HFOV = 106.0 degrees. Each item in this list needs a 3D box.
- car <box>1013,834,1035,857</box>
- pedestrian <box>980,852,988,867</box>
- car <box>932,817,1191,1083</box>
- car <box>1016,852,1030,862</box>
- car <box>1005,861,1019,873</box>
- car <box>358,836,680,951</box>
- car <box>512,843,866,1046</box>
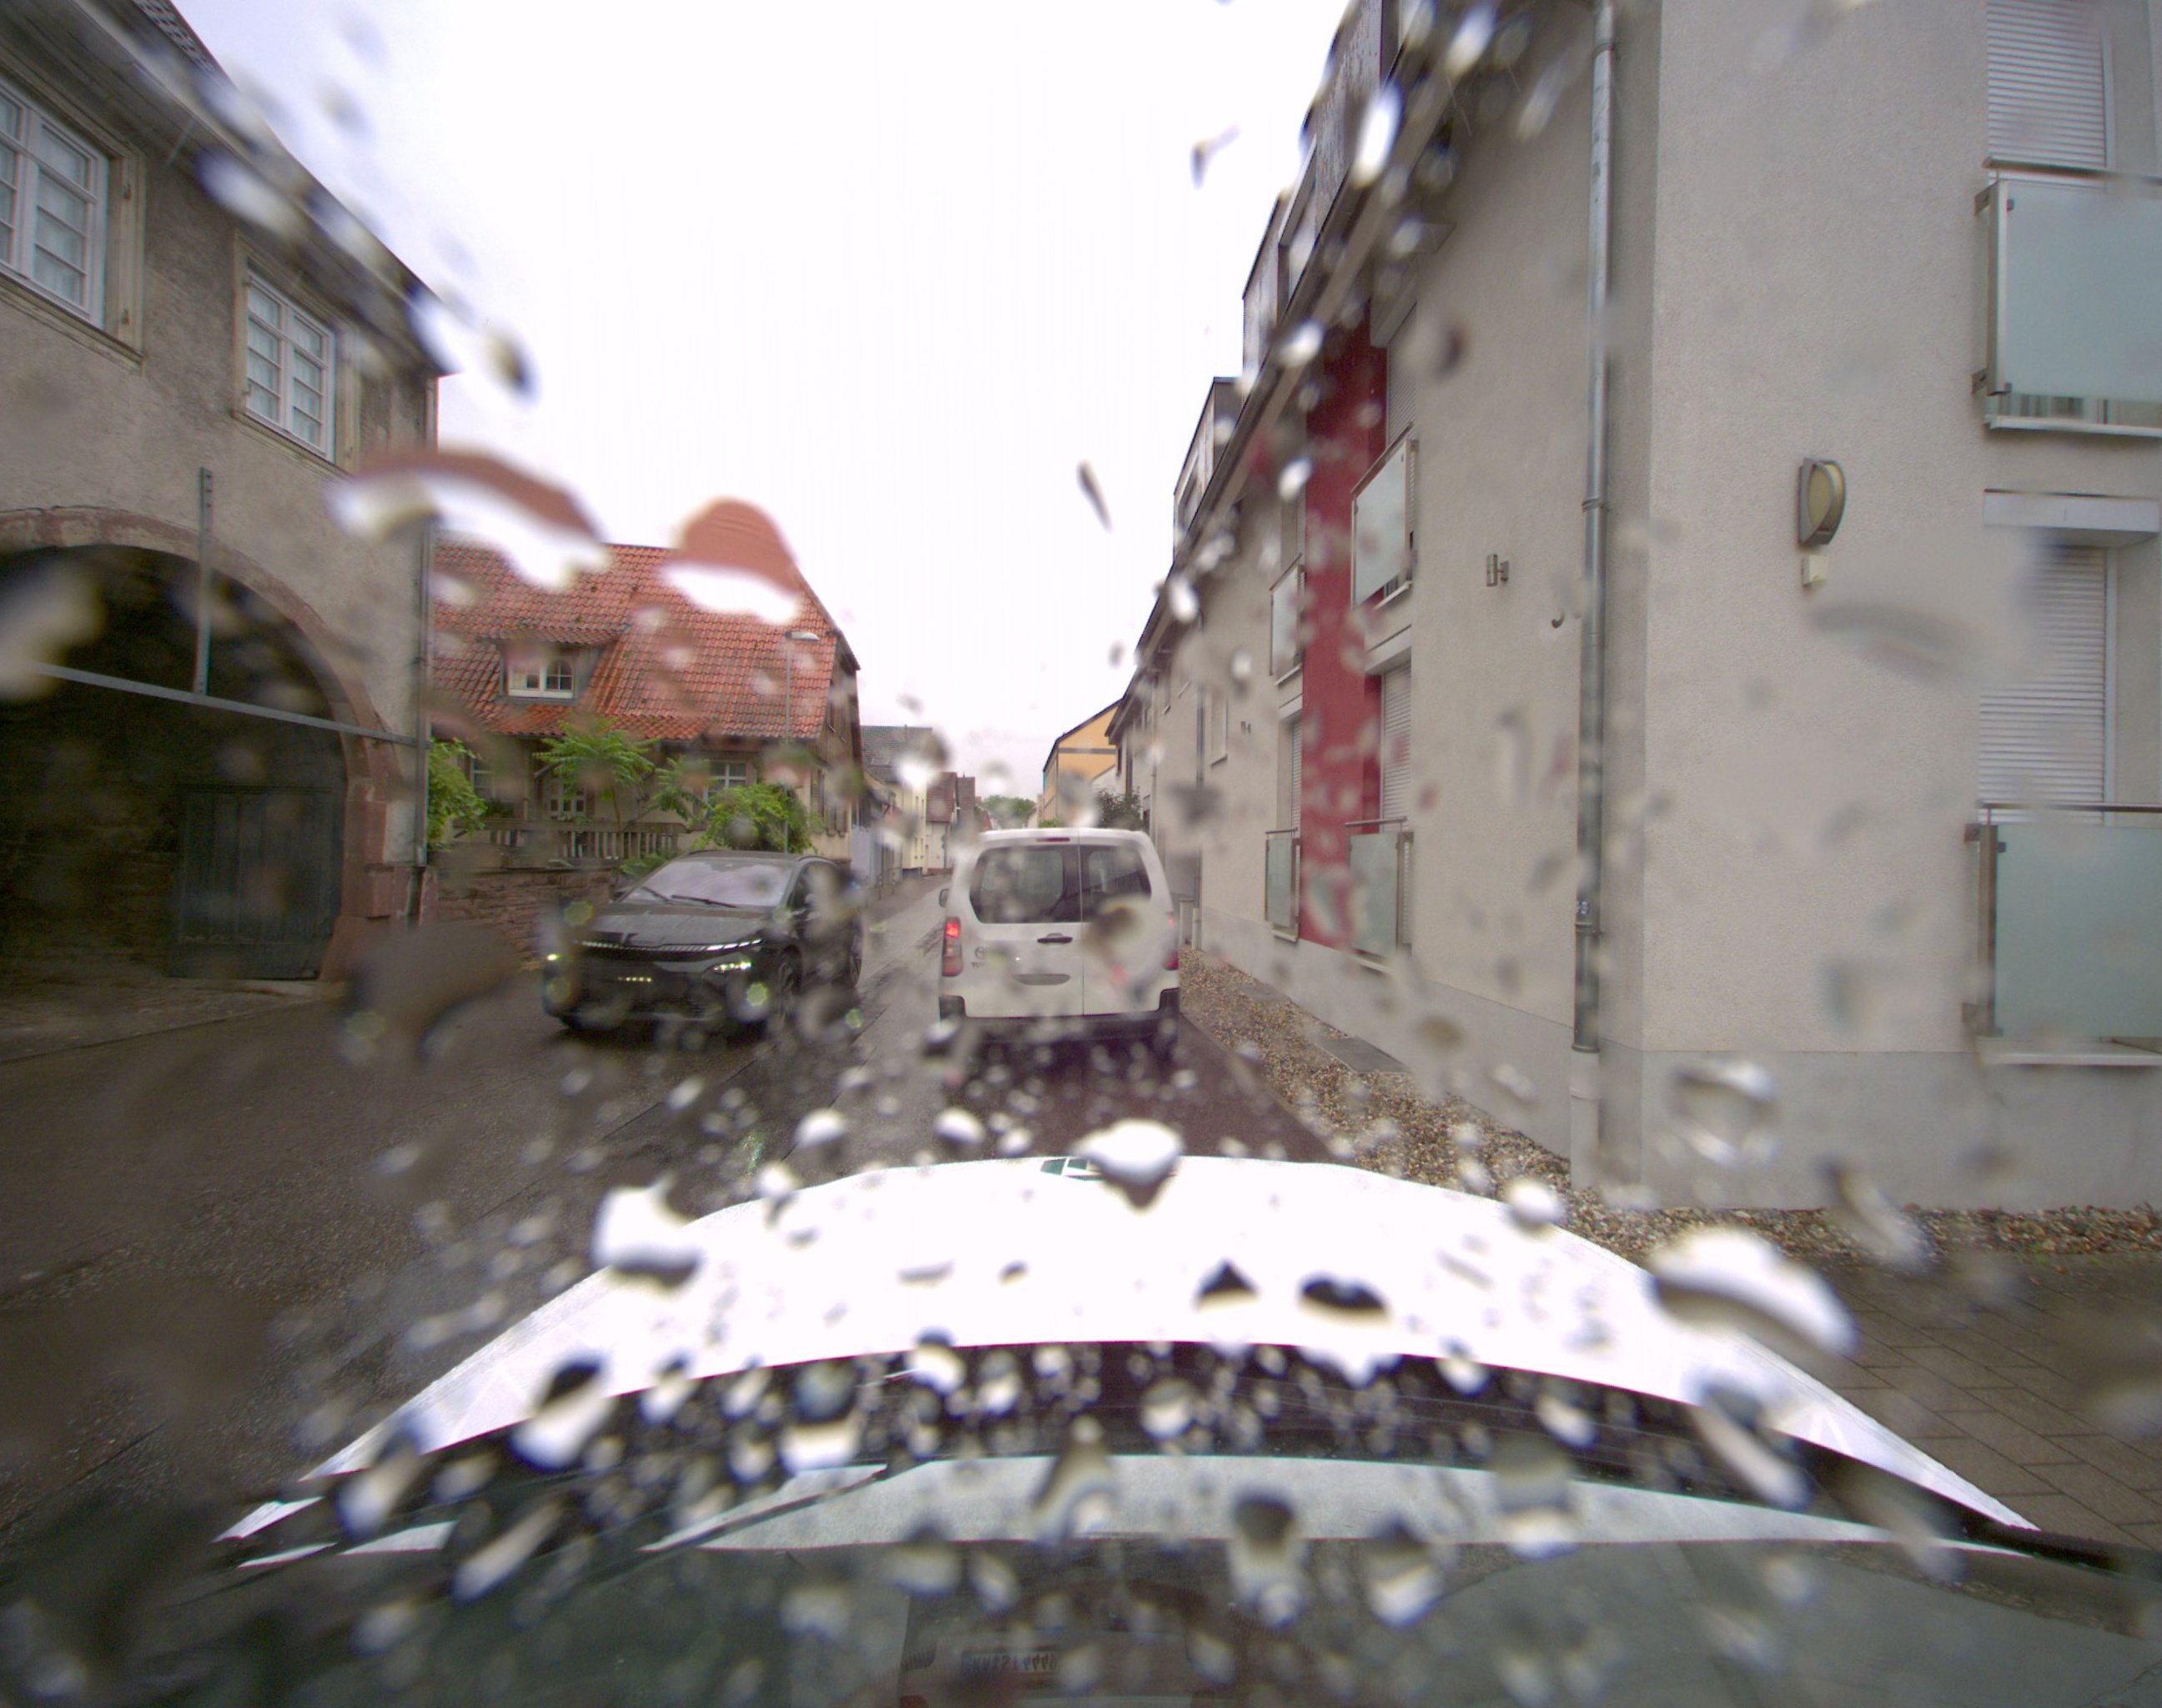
[{"bbox_3d":[-5.357,-0.776,76.699,1.989,2.014,3.995,0,-1,-3],"label":"car"},{"bbox_3d":[-12.205,0.705,102.531,1.049,1.893,0.875,0,-1,-7],"label":"pedestrian"},{"bbox_3d":[-0.338,0.656,7.556,1.773,1.780,3.991,0,-1,-7],"label":"car"},{"bbox_3d":[-8.367,0.419,116.969,1.778,1.395,3.989,0,-1,-7],"label":"car"},{"bbox_3d":[-8.986,1.650,105.579,1.559,1.477,3.989,0,-1,-7],"label":"car"},{"bbox_3d":[-9.115,0.620,13.453,3.973,1.425,1.736,5,-1,1],"label":"car"},{"bbox_3d":[-3.584,0.726,8.442,1.829,1.556,4.233,1,-1,-4],"label":"car"}]
